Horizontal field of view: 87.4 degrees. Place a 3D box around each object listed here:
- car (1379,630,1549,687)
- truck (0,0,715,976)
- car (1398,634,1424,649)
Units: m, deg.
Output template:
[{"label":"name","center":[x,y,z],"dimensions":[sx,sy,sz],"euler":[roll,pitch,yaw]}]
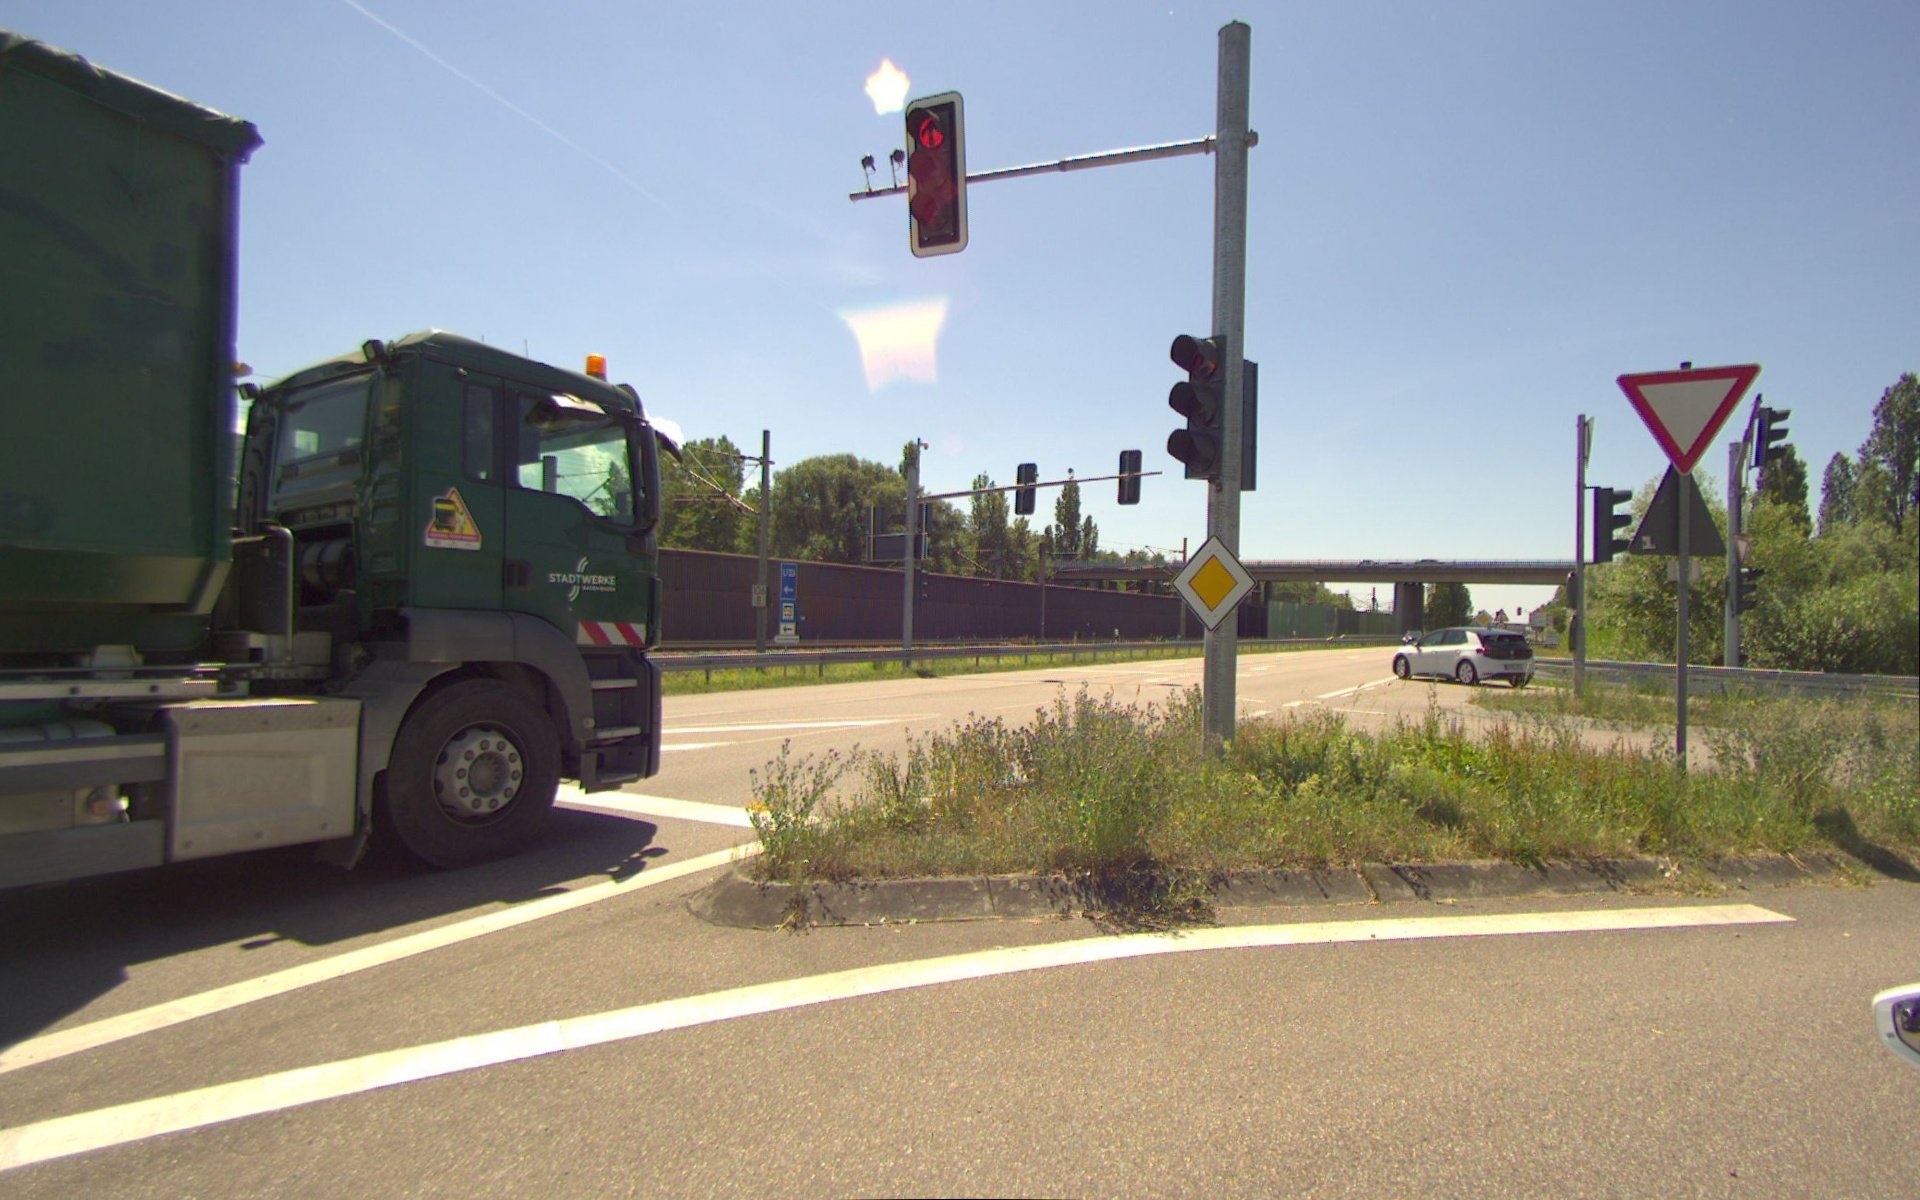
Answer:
[{"label":"car","center":[13.902,1.568,28.038],"dimensions":[1.965,1.416,4.397],"euler":[1,-1,-11]},{"label":"truck","center":[-5.362,-0.450,3.694],"dimensions":[2.554,3.787,9.550],"euler":[0,-1,33]},{"label":"car","center":[46.879,4.284,104.391],"dimensions":[1.965,1.416,4.397],"euler":[0,-2,31]}]
